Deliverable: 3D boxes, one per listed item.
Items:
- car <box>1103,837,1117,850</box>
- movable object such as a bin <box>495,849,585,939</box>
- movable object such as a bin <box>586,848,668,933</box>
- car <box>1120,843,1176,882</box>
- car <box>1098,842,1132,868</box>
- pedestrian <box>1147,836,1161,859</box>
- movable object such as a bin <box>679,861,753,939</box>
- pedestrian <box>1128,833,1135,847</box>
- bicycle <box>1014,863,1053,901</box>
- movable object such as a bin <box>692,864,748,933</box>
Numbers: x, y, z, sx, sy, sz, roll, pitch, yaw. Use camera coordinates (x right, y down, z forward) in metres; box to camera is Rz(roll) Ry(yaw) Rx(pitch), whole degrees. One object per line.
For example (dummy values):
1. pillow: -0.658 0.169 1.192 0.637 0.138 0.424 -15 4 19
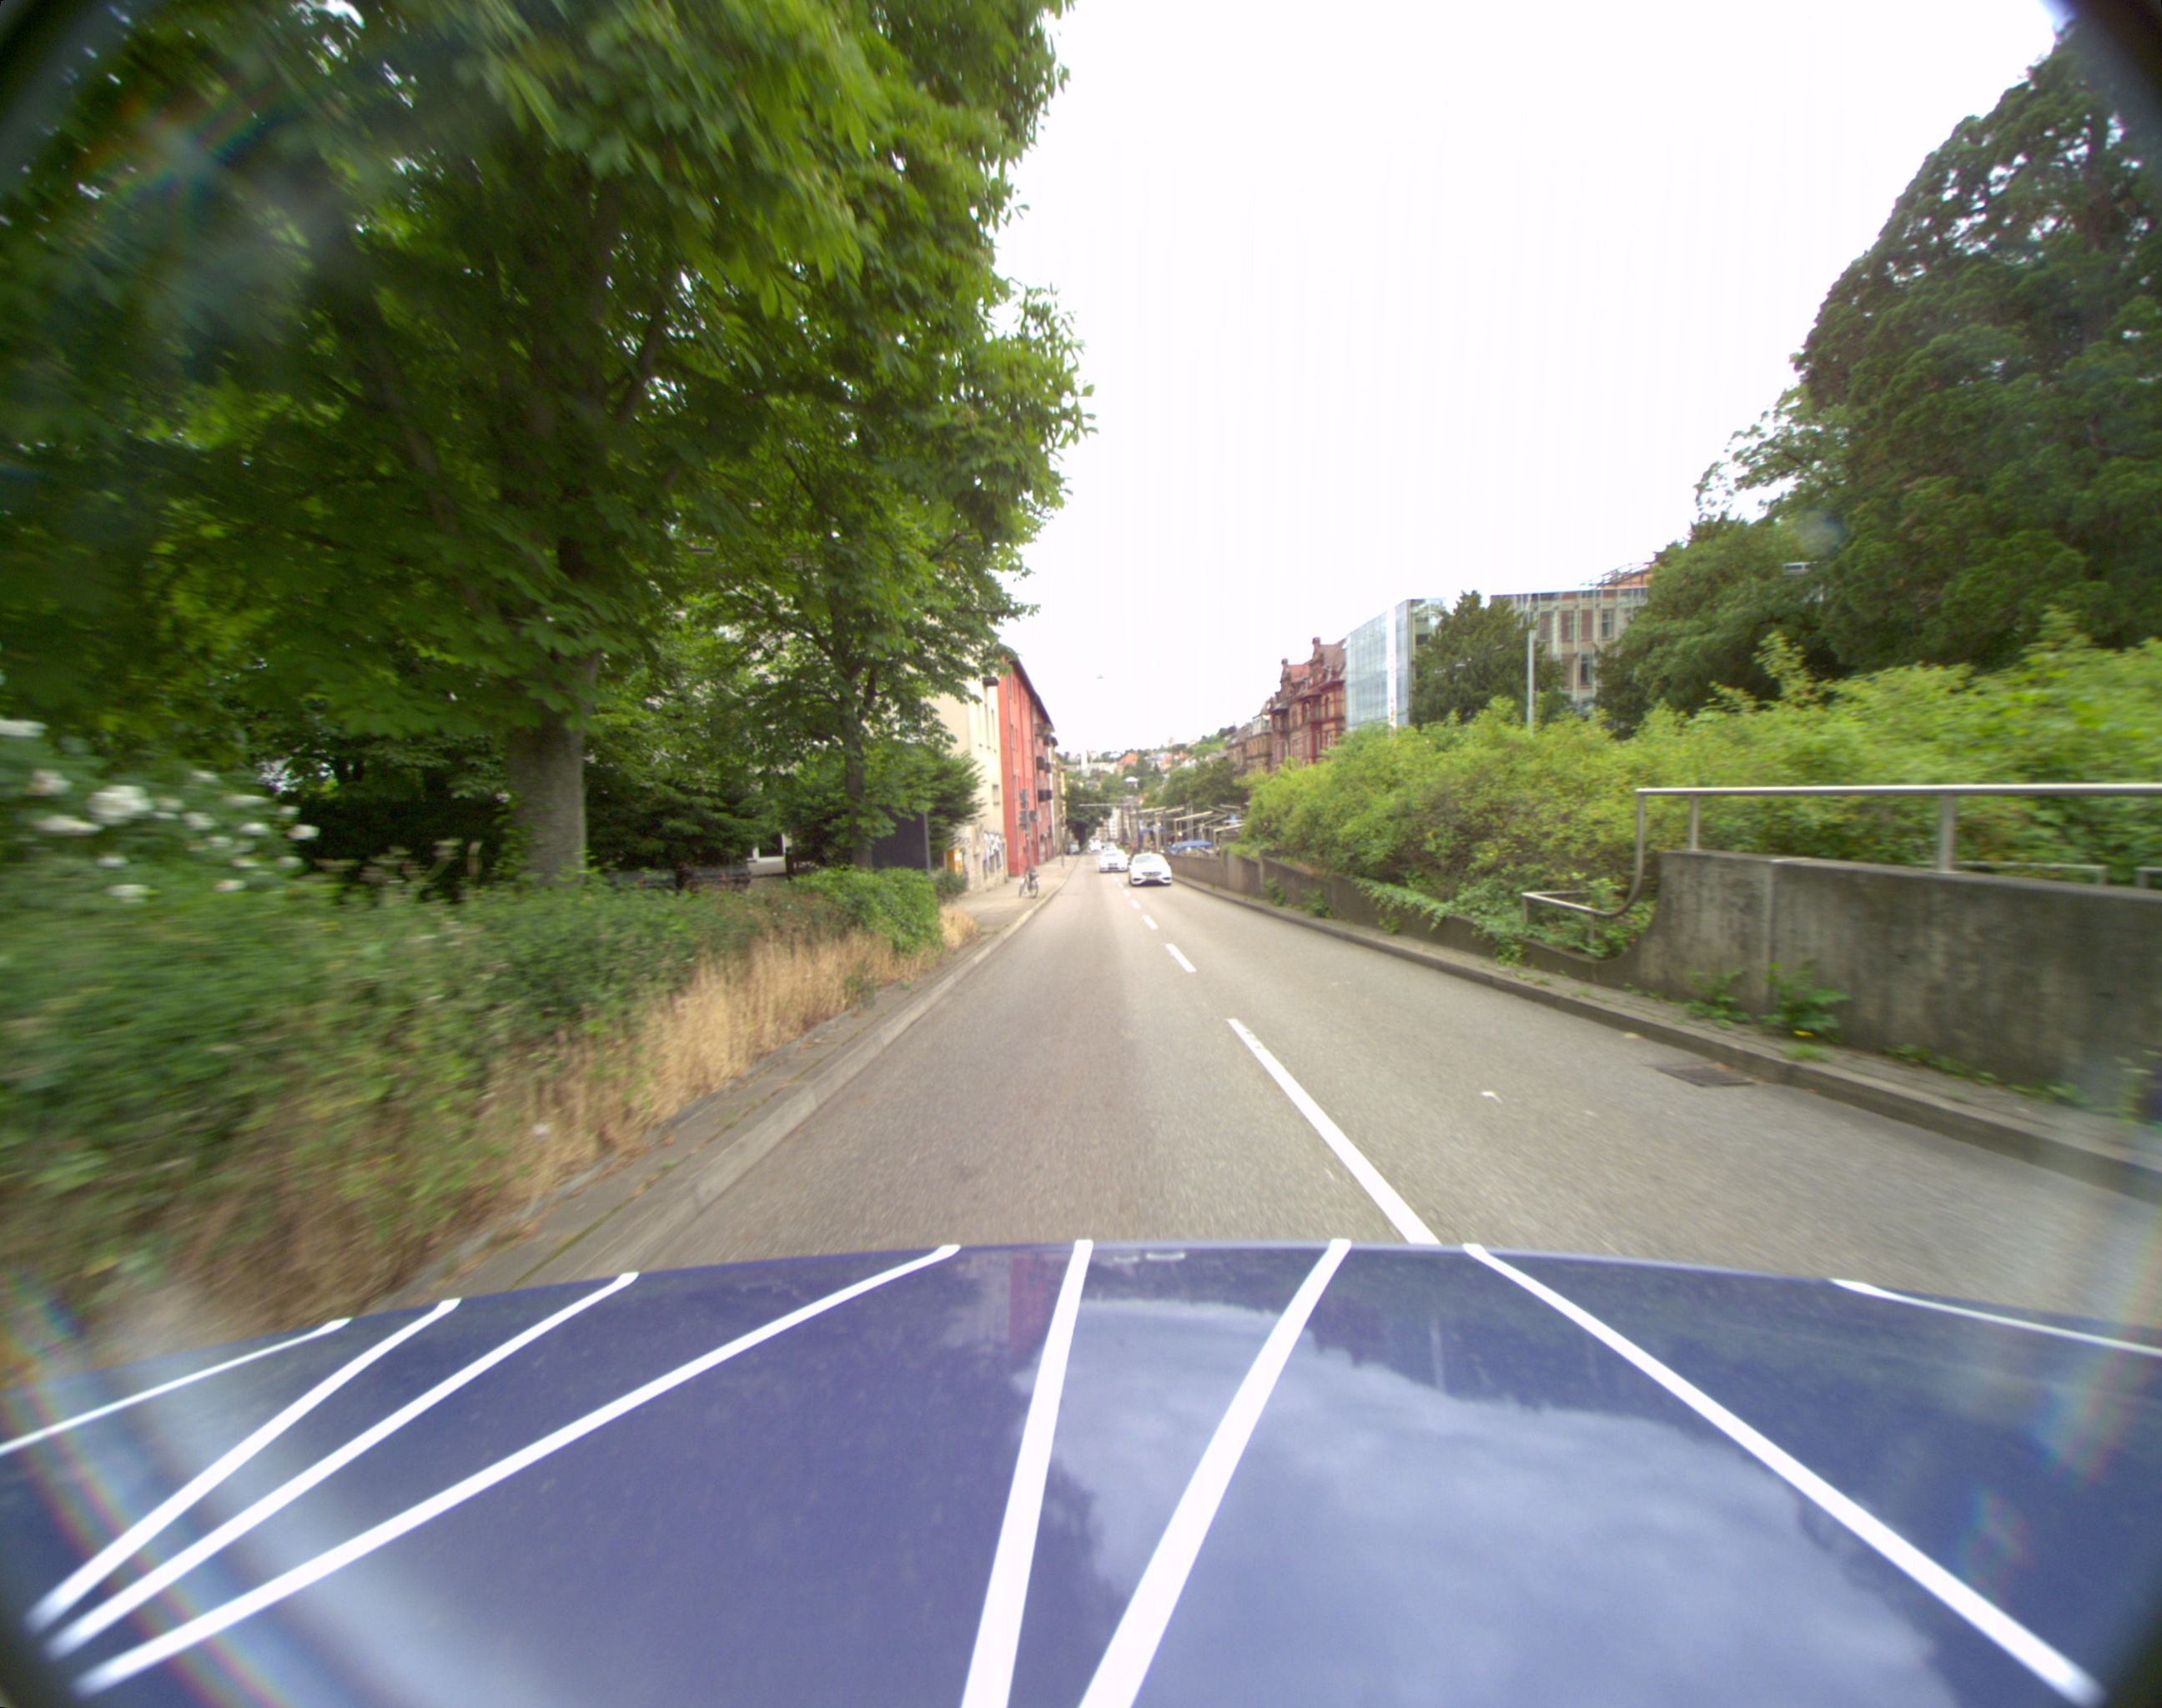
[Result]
1. car: 4.019 -1.515 105.553 1.881 1.728 3.999 -2 2 2
2. movable object such as a bin: -10.099 0.715 14.235 1.201 1.527 0.842 -5 3 -31
3. movable object such as a bin: -8.843 0.677 14.802 1.261 1.527 0.842 -3 2 -33
4. car: 3.006 0.320 35.100 1.999 1.391 4.227 -4 3 -2
5. car: 2.273 0.005 51.671 1.998 1.479 4.228 -5 2 0
6. pedestrian: 5.840 -0.527 60.526 0.818 1.767 0.802 -3 2 -11
7. movable object such as a bin: -7.823 0.952 16.288 1.152 1.527 0.841 -4 3 -45
8. pedestrian: 6.030 -1.660 91.181 0.680 1.671 0.685 -3 2 -2
9. bicycle: -1.618 0.911 25.617 0.641 1.137 2.061 -2 2 -23
10. movable object such as a bin: -8.244 0.993 17.339 0.813 1.478 1.075 -1 2 -45
